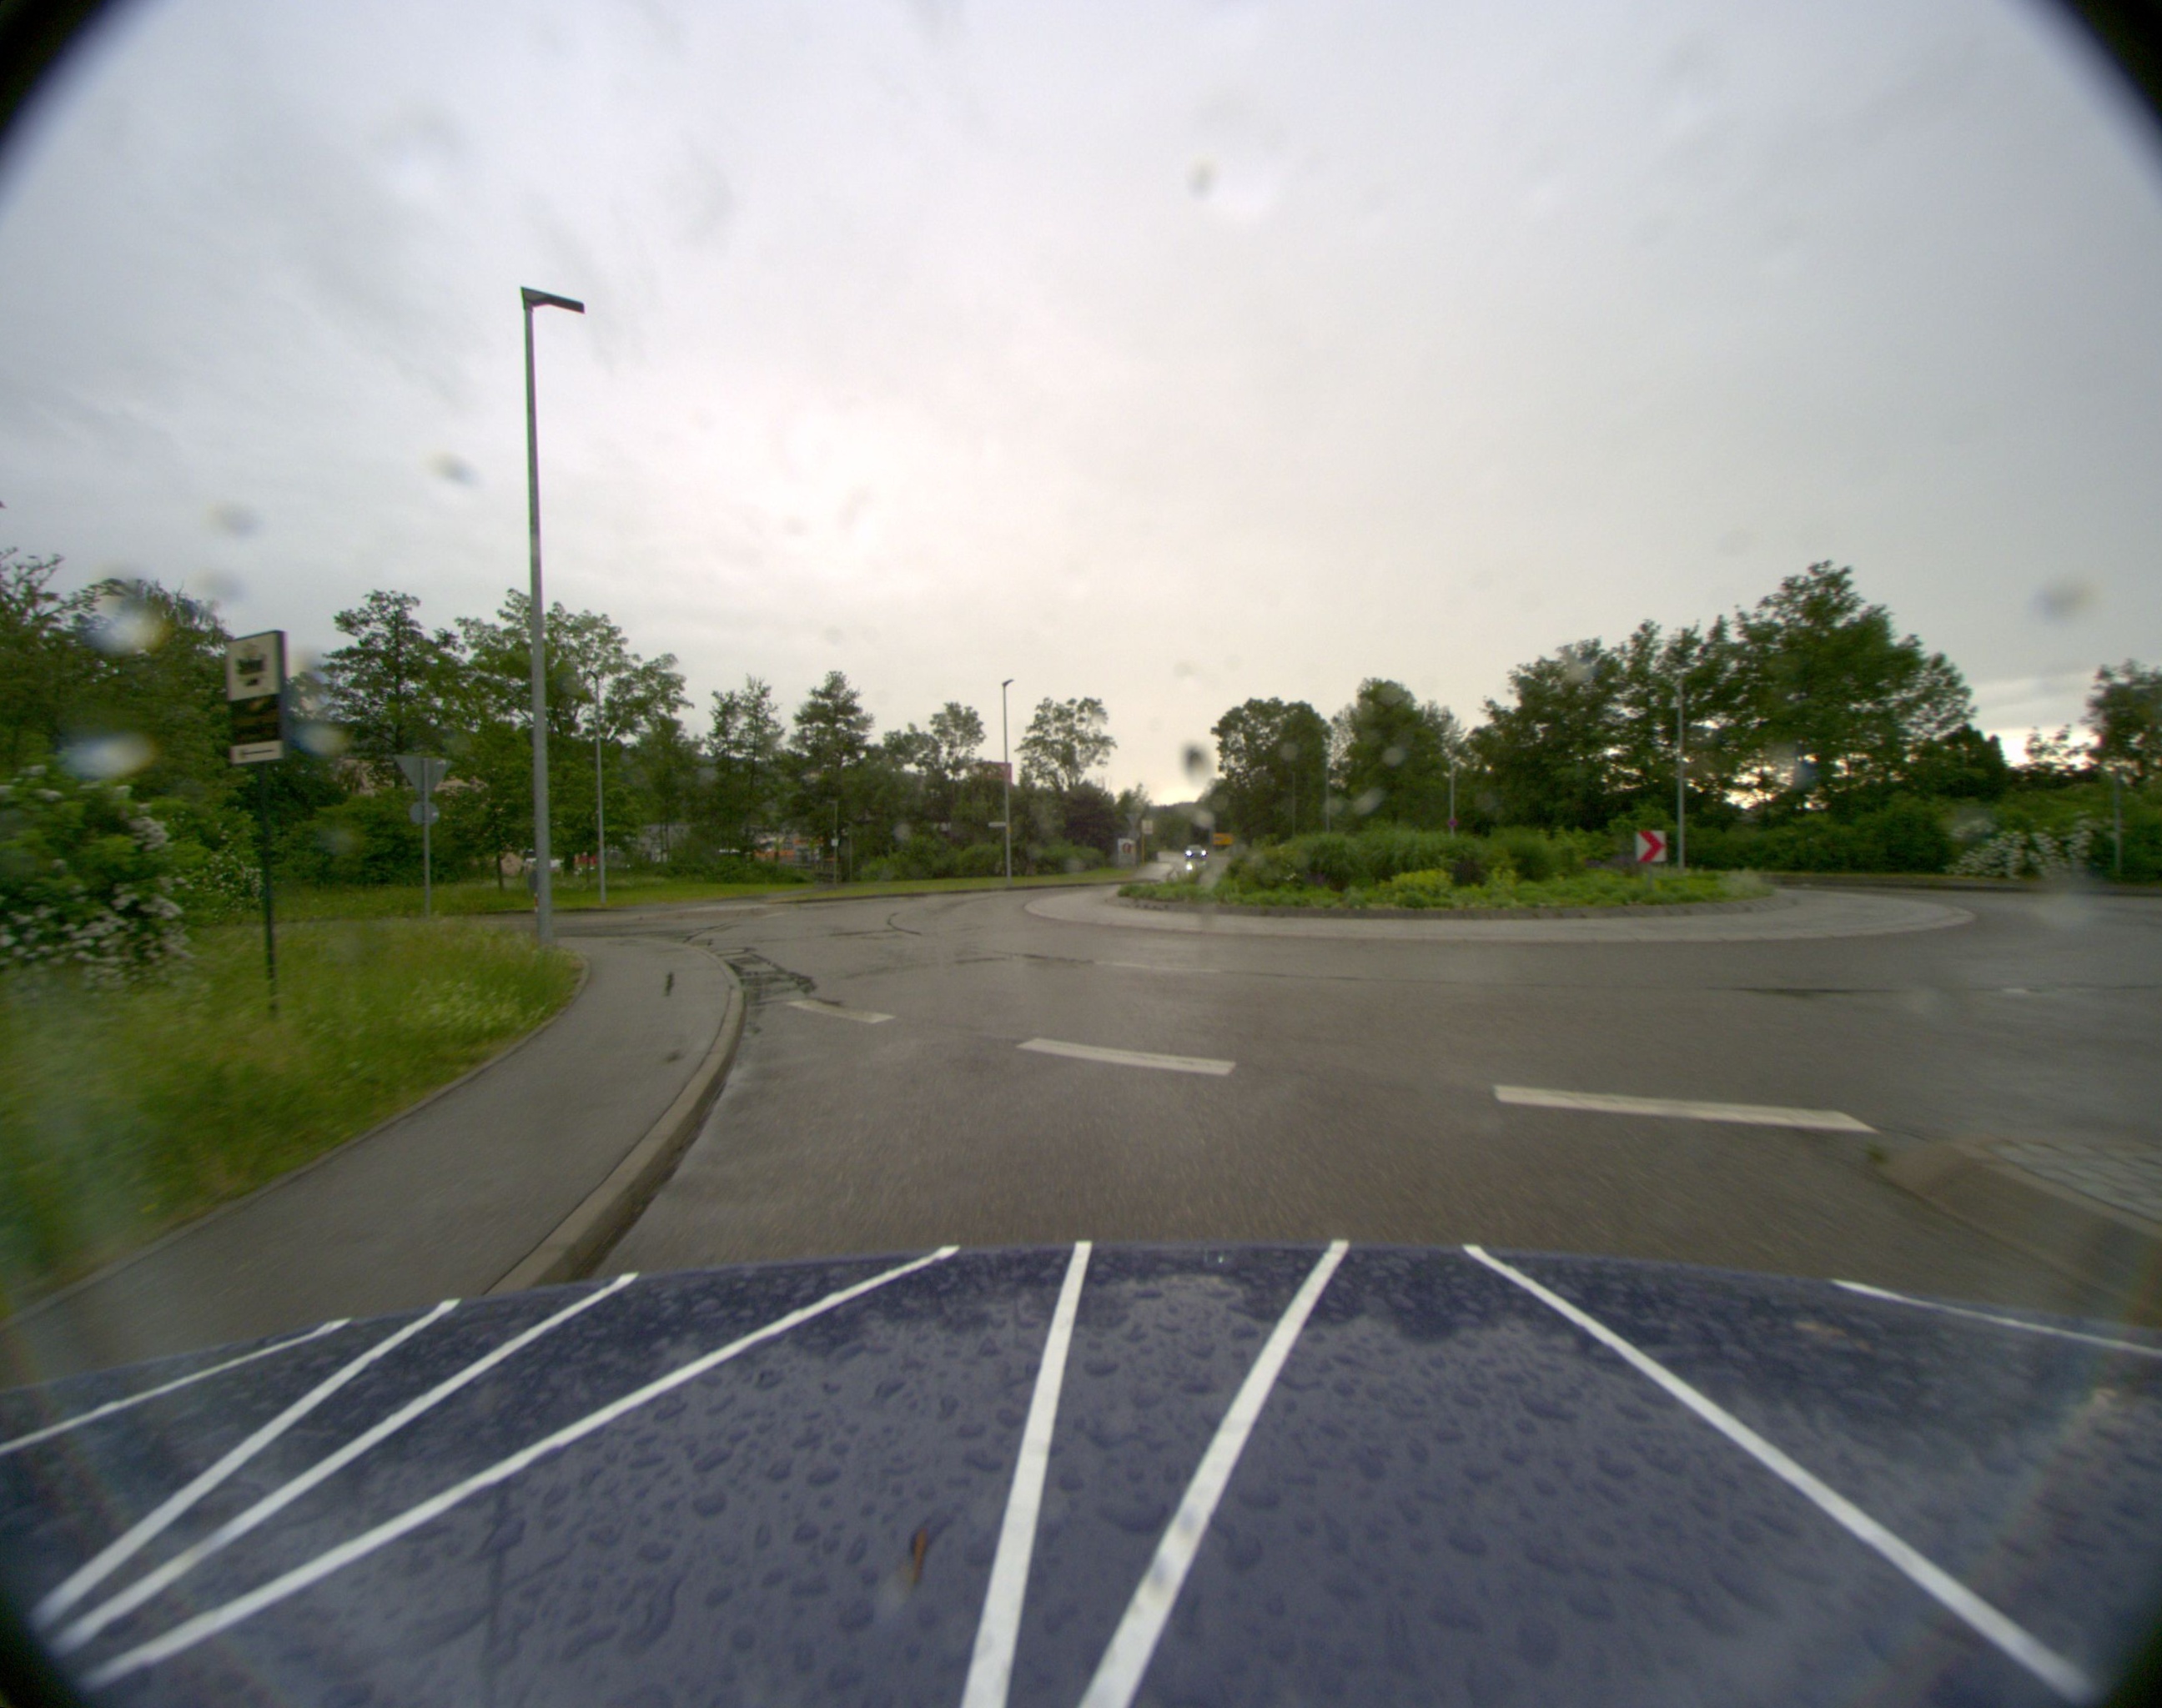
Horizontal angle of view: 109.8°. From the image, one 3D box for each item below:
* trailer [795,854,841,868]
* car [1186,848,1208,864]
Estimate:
[{"bbox_3d":[-40.555,1.065,117.467,6.641,2.002,2.573,-1,1,-18],"label":"trailer"},{"bbox_3d":[11.602,0.171,76.414,1.855,1.481,4.122,-1,0,4],"label":"car"}]
